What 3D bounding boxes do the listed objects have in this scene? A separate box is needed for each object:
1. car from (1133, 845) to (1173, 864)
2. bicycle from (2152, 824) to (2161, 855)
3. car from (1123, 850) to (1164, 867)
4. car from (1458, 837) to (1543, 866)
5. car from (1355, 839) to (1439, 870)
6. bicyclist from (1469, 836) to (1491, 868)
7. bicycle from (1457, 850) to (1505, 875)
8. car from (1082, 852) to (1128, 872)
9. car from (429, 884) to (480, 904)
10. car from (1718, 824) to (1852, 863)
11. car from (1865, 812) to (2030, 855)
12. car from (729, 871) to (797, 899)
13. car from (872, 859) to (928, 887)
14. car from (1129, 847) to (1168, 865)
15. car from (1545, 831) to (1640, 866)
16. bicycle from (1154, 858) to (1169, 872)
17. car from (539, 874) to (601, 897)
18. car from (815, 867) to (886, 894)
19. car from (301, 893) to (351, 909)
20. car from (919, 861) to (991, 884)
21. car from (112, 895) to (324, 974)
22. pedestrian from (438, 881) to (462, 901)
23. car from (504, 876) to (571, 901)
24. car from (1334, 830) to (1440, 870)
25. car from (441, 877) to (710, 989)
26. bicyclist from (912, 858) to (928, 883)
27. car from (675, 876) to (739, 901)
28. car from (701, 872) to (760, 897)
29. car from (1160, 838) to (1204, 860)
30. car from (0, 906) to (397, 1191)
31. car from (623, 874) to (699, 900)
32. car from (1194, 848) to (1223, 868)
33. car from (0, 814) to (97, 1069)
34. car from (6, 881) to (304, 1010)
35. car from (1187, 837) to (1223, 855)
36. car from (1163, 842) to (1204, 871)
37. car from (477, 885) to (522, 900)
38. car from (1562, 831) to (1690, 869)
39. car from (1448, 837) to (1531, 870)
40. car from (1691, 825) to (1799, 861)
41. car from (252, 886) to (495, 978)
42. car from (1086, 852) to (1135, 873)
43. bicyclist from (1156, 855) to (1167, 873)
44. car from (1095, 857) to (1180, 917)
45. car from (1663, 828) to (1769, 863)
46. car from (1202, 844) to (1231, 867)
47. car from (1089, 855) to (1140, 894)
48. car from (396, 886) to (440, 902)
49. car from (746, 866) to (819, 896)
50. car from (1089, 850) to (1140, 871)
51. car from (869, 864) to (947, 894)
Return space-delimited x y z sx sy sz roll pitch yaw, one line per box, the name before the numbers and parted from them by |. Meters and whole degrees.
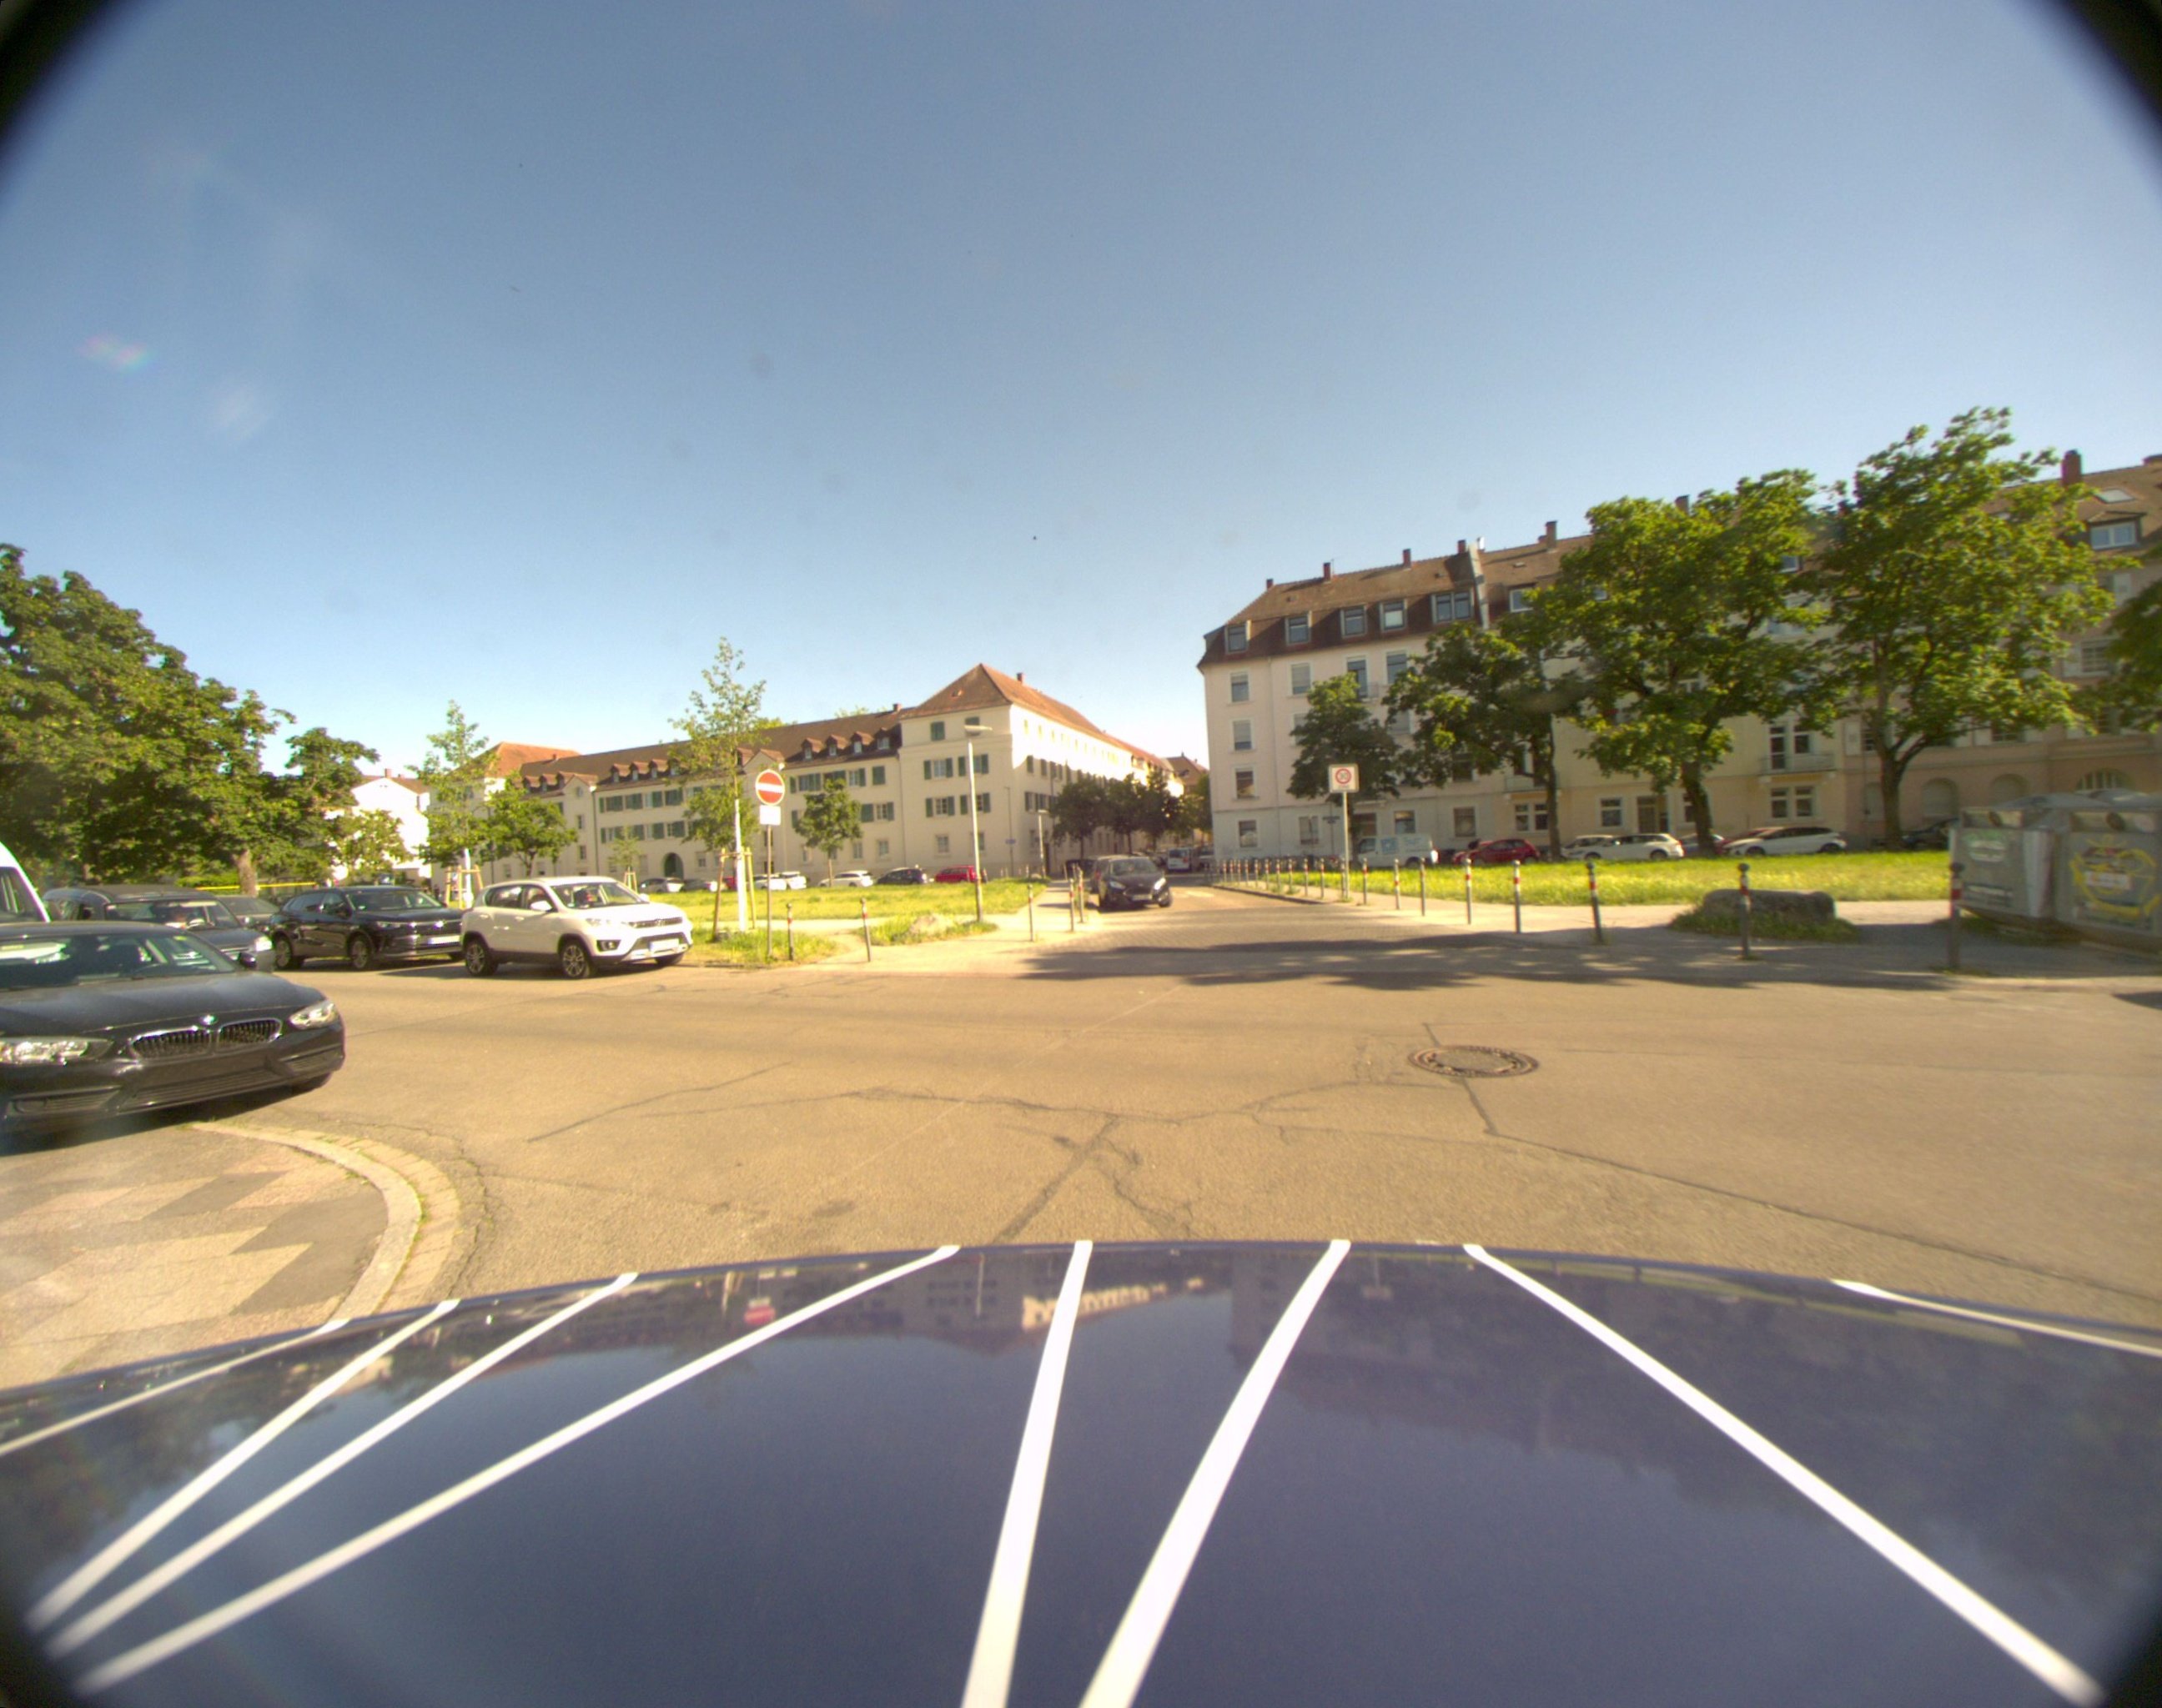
car | 7.530 0.075 79.228 3.705 1.824 1.959 -3 1 18
bicycle | 38.662 -0.534 26.171 1.951 1.072 0.735 -3 0 21
car | 6.094 0.422 74.314 3.608 1.512 1.862 -3 0 18
car | 21.224 -0.149 38.613 3.518 1.272 1.702 -3 0 20
car | 18.910 0.020 45.676 4.443 1.577 2.002 -3 0 18
bicyclist | 21.344 -0.117 40.663 0.877 1.680 0.633 -3 0 22
bicycle | 21.373 0.469 40.663 2.149 1.251 0.715 -3 1 21
car | 2.135 0.693 66.368 3.608 1.512 1.710 -3 1 18
car | -58.366 3.725 70.773 4.226 1.574 1.797 -3 0 21
car | 31.775 -0.450 34.442 4.072 1.518 1.702 -3 1 20
car | 36.636 -0.837 32.268 4.345 1.540 1.639 -3 1 20
car | -23.896 2.313 57.146 4.248 1.810 2.246 -3 0 20
car | -14.081 1.451 59.120 3.888 2.002 1.673 -2 1 22
car | 6.851 0.228 76.927 3.608 1.631 1.834 -3 1 18
car | 28.257 -0.304 42.094 3.991 1.747 1.871 -3 1 21
bicycle | 6.367 0.871 60.273 0.657 1.010 1.984 -3 1 21
car | -49.230 3.055 73.187 5.246 1.973 2.230 -3 0 20
car | -18.488 2.136 60.963 5.147 1.875 2.164 -3 0 22
car | -81.785 5.086 82.335 4.947 1.476 2.003 -3 0 22
car | -9.493 1.381 57.218 4.947 1.476 2.003 -3 0 22
car | -20.295 1.851 17.854 4.728 1.600 1.828 -3 -1 22
pedestrian | -65.336 3.848 78.675 1.161 1.952 1.345 -3 1 17
car | -47.841 3.041 66.840 5.246 1.973 2.231 -3 0 22
car | 16.379 -0.195 40.951 5.087 1.861 2.091 -3 1 20
car | -8.687 1.301 13.037 4.277 1.637 1.765 -3 -1 23
bicyclist | -11.867 1.188 56.055 0.800 1.792 0.676 -2 1 22
car | -29.146 2.676 59.264 3.999 1.740 2.328 -3 0 24
car | -30.341 2.621 65.763 4.158 1.894 2.274 -3 0 21
car | 12.499 -0.581 94.166 4.946 2.504 1.959 -3 1 18
car | -7.801 1.237 5.833 4.489 1.473 1.968 -3 -1 21
car | -33.832 2.636 61.157 5.441 1.810 2.462 -3 0 24
car | 11.390 0.323 67.661 1.934 1.560 3.887 -3 0 19
car | -14.763 1.069 9.012 6.825 2.696 2.153 -3 -1 24
car | -15.460 1.474 12.706 4.148 1.779 1.907 -3 0 22
car | 18.487 -1.187 113.319 4.946 2.381 1.959 -3 1 18
car | 7.829 0.180 57.552 2.136 2.002 4.582 -3 0 19
car | -58.986 3.894 77.038 3.991 1.348 1.777 -3 0 22
car | 26.150 -0.182 36.660 4.688 1.552 1.702 -3 1 20
car | 23.586 -0.034 44.034 4.045 1.741 2.003 -3 1 23
car | 32.645 -0.535 37.489 3.584 1.592 1.784 -3 1 21
car | -14.621 1.561 15.695 4.704 1.628 1.852 -3 -1 23
car | 2.461 0.726 63.159 3.659 1.512 1.715 -3 1 21
bicyclist | 6.379 0.775 60.301 0.622 1.356 0.879 -3 1 21
car | 1.526 0.868 22.009 1.919 1.401 4.347 -5 0 -2
car | 33.302 -0.445 39.990 3.852 1.605 1.893 -3 1 21
car | 12.934 0.081 72.407 1.996 1.962 5.059 -3 0 17
car | 1.466 0.895 34.500 1.928 1.567 4.347 -3 0 -2
car | -63.383 3.854 72.602 3.507 1.325 1.658 -3 0 21
car | -25.063 2.280 63.799 5.246 2.203 2.542 -3 0 20
car | 3.034 0.555 68.422 4.233 1.691 1.709 -3 1 20
car | -11.874 1.688 52.238 4.695 1.810 2.168 -3 0 21
